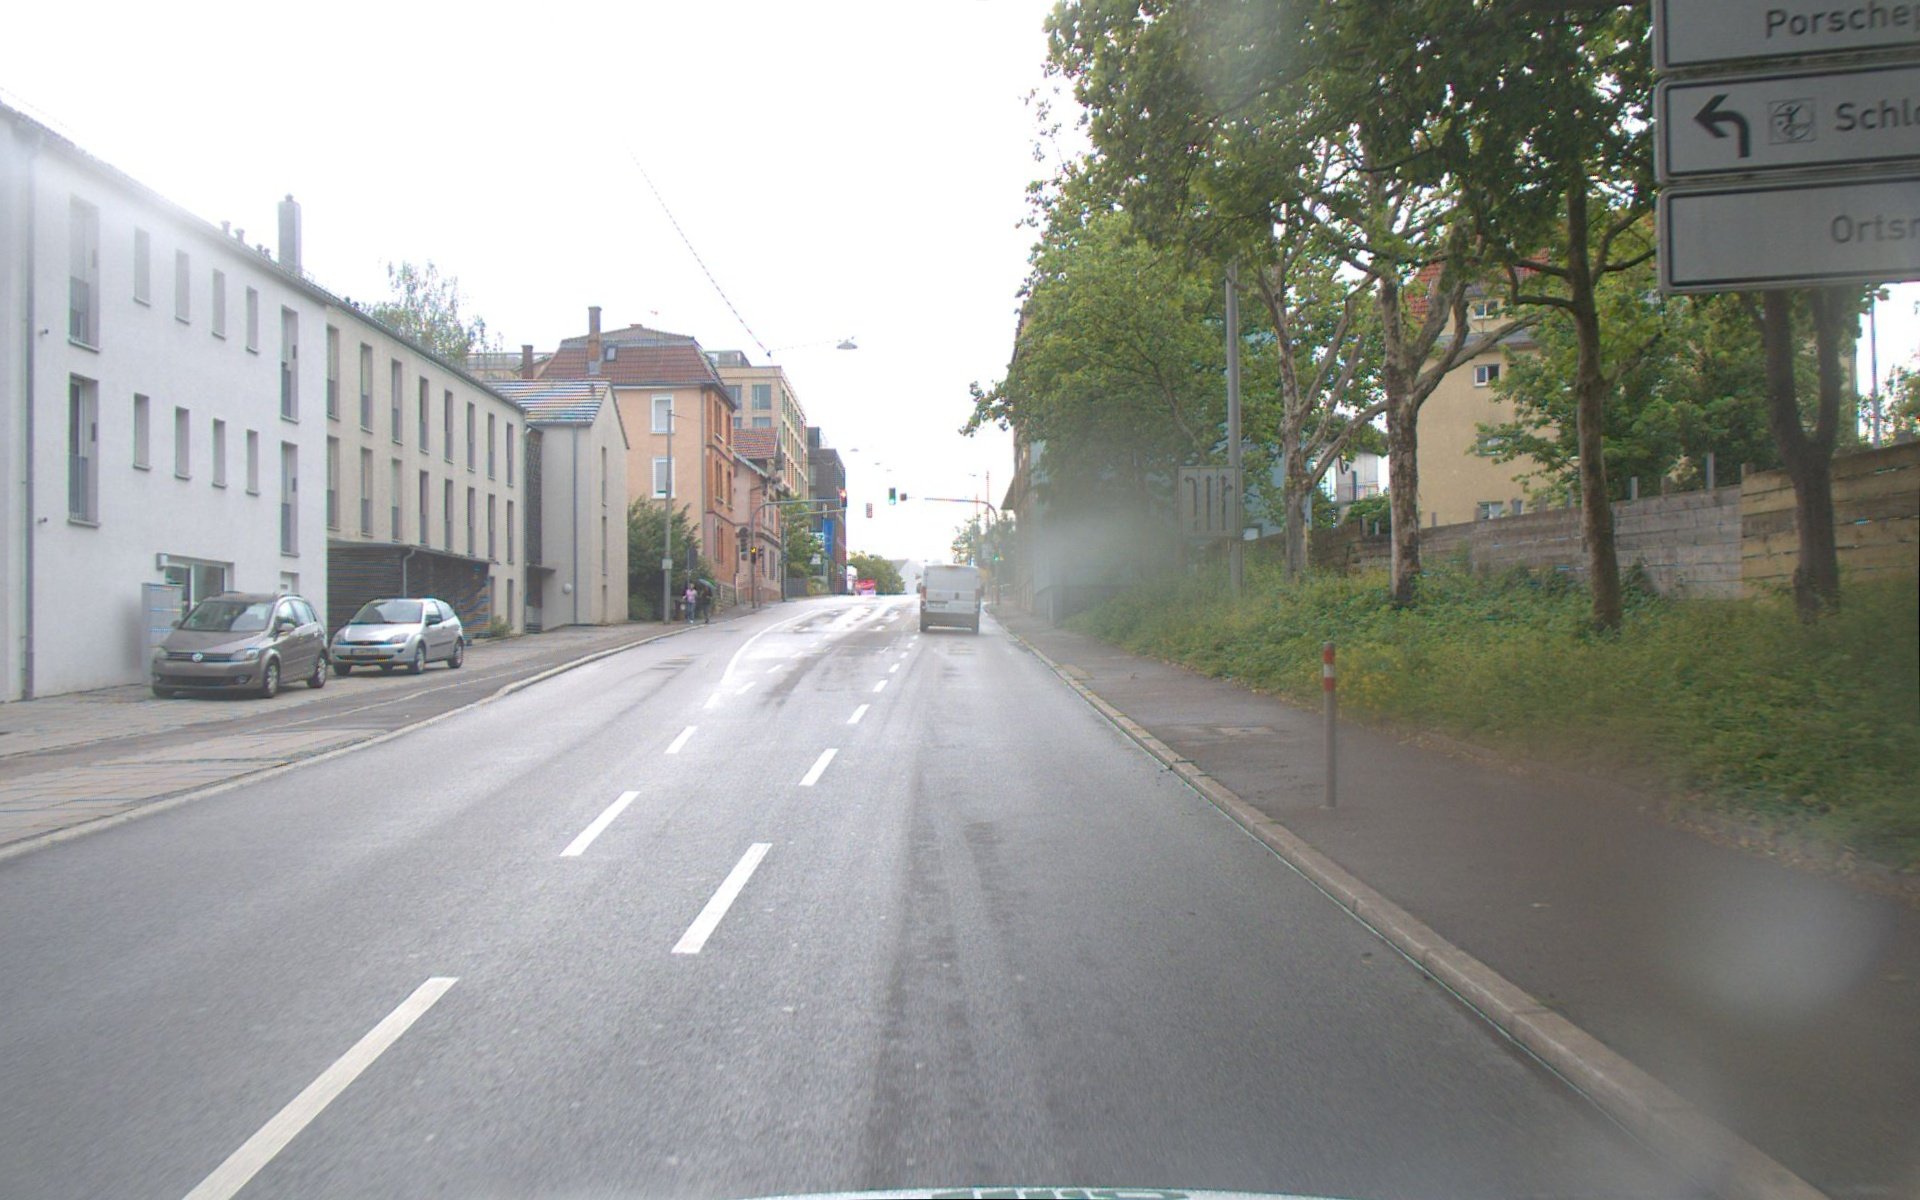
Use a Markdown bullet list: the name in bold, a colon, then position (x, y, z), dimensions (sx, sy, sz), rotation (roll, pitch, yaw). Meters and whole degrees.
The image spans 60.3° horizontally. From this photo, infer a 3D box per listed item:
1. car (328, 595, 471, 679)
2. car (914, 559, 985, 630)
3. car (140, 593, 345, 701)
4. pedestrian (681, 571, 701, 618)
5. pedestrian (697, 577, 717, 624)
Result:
- **car**: position (-11.284, 0.689, 33.566), dimensions (1.634, 1.557, 4.093), rotation (-1, 0, -3)
- **car**: position (-0.344, -0.148, 56.319), dimensions (2.288, 2.270, 3.999), rotation (-1, -1, 0)
- **car**: position (-11.415, 0.688, 26.600), dimensions (1.634, 1.557, 4.093), rotation (-1, 0, -3)
- **pedestrian**: position (-11.655, -0.240, 71.693), dimensions (0.657, 2.049, 0.942), rotation (0, 0, 3)
- **pedestrian**: position (-10.948, 0.026, 71.643), dimensions (0.657, 2.049, 0.942), rotation (0, 0, 3)
